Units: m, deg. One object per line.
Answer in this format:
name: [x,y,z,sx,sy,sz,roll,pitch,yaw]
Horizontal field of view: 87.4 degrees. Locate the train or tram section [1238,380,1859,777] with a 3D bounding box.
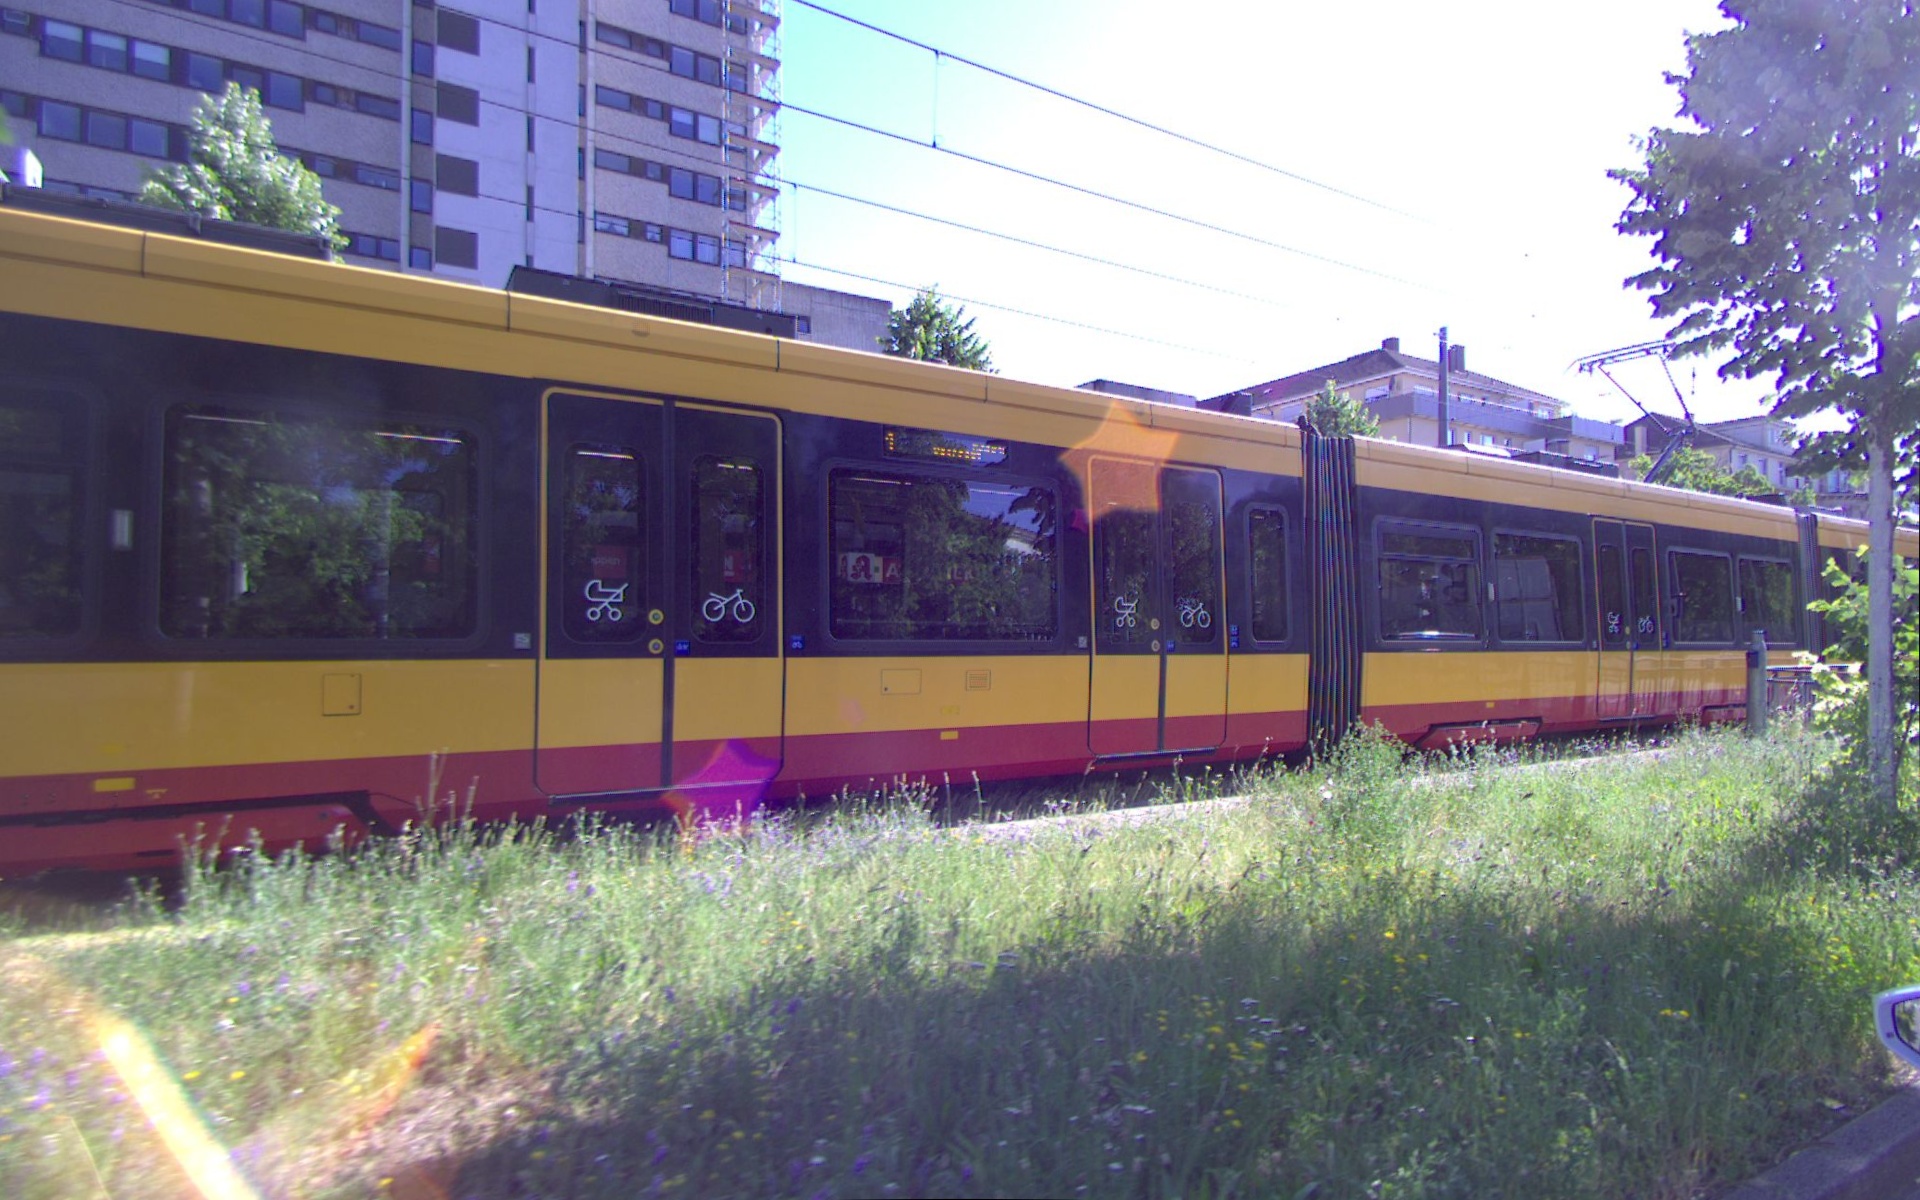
train or tram section: [8.365,-0.073,13.186,11.187,3.718,1.983,1,-1,-31]

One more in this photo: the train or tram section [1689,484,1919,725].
train or tram section: [17.941,0.208,19.288,11.548,3.718,1.984,1,-1,-31]

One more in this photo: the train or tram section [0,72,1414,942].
train or tram section: [-2.158,-0.327,6.670,13.993,3.718,1.983,1,-1,-32]
